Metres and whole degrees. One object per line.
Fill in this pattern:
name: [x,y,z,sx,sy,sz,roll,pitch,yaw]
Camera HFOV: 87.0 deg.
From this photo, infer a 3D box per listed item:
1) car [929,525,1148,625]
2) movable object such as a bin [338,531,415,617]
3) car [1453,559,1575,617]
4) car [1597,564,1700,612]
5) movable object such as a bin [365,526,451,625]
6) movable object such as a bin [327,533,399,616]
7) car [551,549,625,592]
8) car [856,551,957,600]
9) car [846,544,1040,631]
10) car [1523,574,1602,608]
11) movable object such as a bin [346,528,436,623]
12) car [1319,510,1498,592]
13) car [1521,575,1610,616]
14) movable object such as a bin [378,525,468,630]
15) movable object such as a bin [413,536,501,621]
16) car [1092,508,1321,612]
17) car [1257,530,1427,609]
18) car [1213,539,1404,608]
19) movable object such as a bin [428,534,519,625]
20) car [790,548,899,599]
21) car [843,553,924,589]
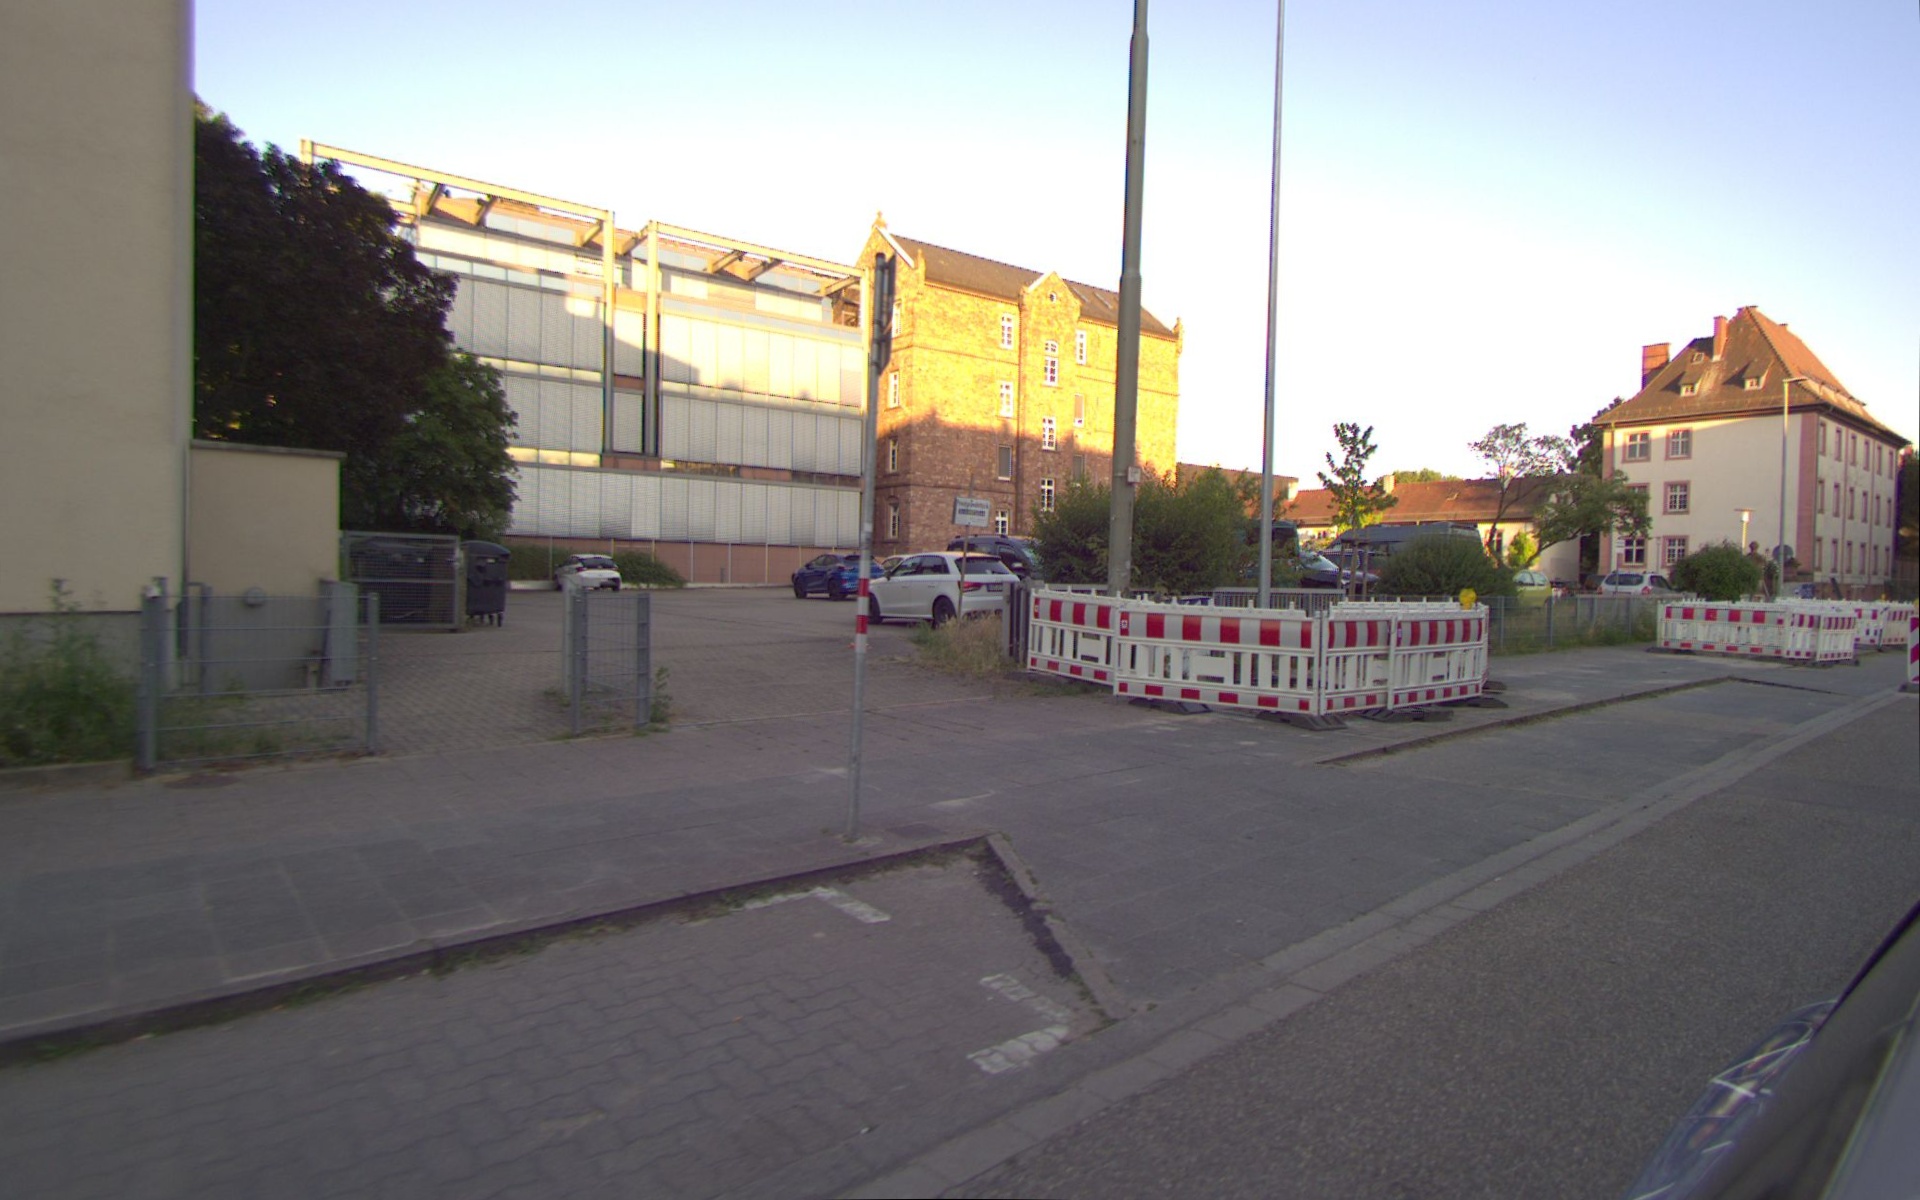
car: [1.500,-0.560,20.957,1.969,1.832,4.491,0,3,-38]
movable object such as a bin: [-10.256,-0.459,17.782,0.994,1.447,1.105,0,2,-41]
car: [17.177,-0.378,31.325,4.058,1.669,1.702,0,2,-36]
car: [25.237,-0.464,37.024,4.723,1.650,1.919,0,2,-41]
movable object such as a bin: [-8.624,-0.390,15.795,0.994,1.483,1.000,0,2,-41]
movable object such as a bin: [-11.137,-0.483,18.869,0.994,1.483,1.000,0,2,-41]
car: [-14.490,-1.167,39.298,1.820,1.536,3.733,0,2,-34]
car: [-1.846,-0.838,34.014,1.791,1.536,3.736,0,2,-32]
car: [-0.420,-0.302,19.182,1.664,1.470,3.841,0,3,-38]
car: [31.601,-0.480,53.064,3.922,1.723,2.001,0,2,-33]
movable object such as a bin: [-9.431,-0.419,16.756,1.044,1.483,1.389,0,2,-40]
car: [13.161,-1.405,29.962,1.963,2.224,4.437,0,2,-36]
car: [25.211,-0.216,42.089,3.930,1.620,2.015,0,2,-41]
movable object such as a bin: [-7.963,-0.338,15.000,0.994,1.483,1.000,0,2,-41]
movable object such as a bin: [-9.228,-0.408,18.560,1.139,1.483,1.389,0,2,-40]
car: [5.599,-0.912,23.677,2.245,2.156,5.040,0,2,-33]
car: [10.668,-0.883,28.492,1.963,2.038,4.000,0,2,-36]
car: [9.105,-0.709,26.740,1.963,1.669,4.437,0,2,-36]
movable object such as a bin: [-8.275,-0.363,17.192,1.090,1.483,1.318,0,2,-40]
car: [-3.799,-0.890,32.789,1.946,1.536,3.946,0,2,-33]
car: [-3.597,-1.376,47.024,1.793,1.536,4.147,0,3,-37]
